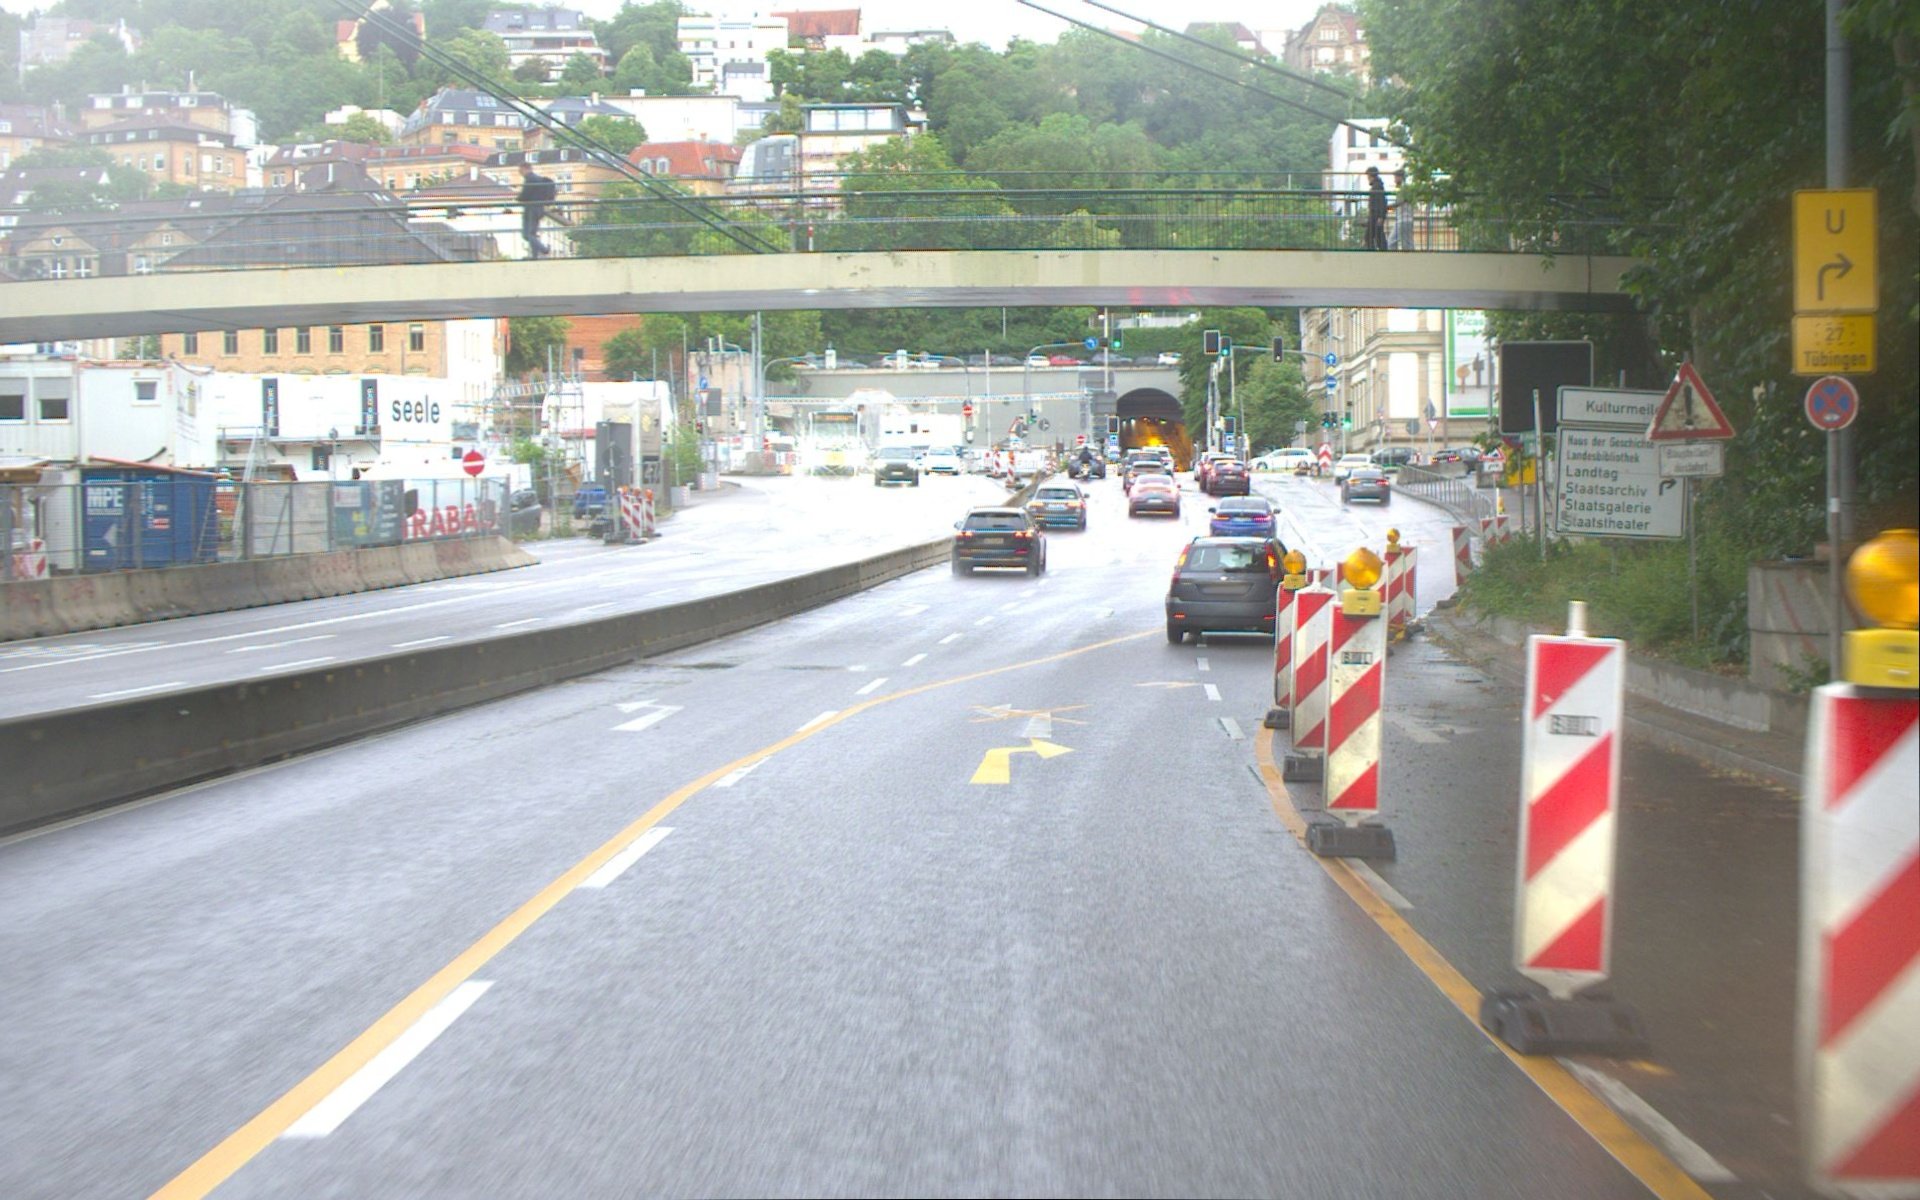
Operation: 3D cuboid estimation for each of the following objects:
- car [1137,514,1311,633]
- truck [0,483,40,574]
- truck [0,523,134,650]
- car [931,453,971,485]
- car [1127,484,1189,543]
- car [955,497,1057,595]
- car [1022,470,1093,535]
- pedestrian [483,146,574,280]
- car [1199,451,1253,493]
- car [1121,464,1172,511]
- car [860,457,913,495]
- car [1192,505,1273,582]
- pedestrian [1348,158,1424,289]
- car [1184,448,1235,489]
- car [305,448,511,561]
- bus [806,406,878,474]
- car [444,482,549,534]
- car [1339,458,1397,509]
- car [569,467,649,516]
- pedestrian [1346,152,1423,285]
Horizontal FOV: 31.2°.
[{"bbox_3d":[3.666,-0.399,47.176,1.813,1.521,3.998,-1,1,12],"label":"car"},{"bbox_3d":[-23.512,-1.547,76.880,5.247,2.006,2.164,-1,2,-1],"label":"truck"},{"bbox_3d":[-19.954,-0.243,68.712,6.275,2.444,2.694,-1,1,-4],"label":"truck"},{"bbox_3d":[-0.440,-6.536,171.267,1.709,1.484,3.450,-1,1,4],"label":"car"},{"bbox_3d":[7.067,-3.079,123.022,2.051,2.007,4.000,-1,1,2],"label":"car"},{"bbox_3d":[1.032,-1.170,74.473,2.017,2.007,4.000,-1,1,3],"label":"car"},{"bbox_3d":[3.160,-3.119,110.578,1.994,2.007,3.999,-1,1,5],"label":"car"},{"bbox_3d":[-7.058,-6.322,56.289,1.148,2.053,1.059,-1,1,11],"label":"pedestrian"},{"bbox_3d":[11.399,-5.477,147.487,1.993,1.693,4.000,-1,1,1],"label":"car"},{"bbox_3d":[7.827,-4.722,144.560,1.993,1.863,4.000,-1,1,1],"label":"car"},{"bbox_3d":[-3.256,-5.561,154.043,2.082,1.625,4.853,-1,2,2],"label":"car"},{"bbox_3d":[7.594,-1.578,96.093,2.105,2.043,4.000,-1,1,3],"label":"car"},{"bbox_3d":[7.138,-6.302,57.609,1.148,2.053,1.059,-1,1,11],"label":"pedestrian"},{"bbox_3d":[11.141,-5.884,153.739,1.993,1.693,4.000,-1,1,1],"label":"car"},{"bbox_3d":[-14.650,-2.537,91.630,1.997,2.865,6.042,-1,1,30],"label":"car"},{"bbox_3d":[-5.783,-7.868,169.718,2.806,3.173,8.807,-1,2,3],"label":"bus"},{"bbox_3d":[-14.736,-2.909,109.523,1.763,1.560,4.680,-1,1,12],"label":"car"},{"bbox_3d":[16.434,-4.705,138.668,1.994,2.006,4.000,0,2,2],"label":"car"},{"bbox_3d":[-12.537,-3.901,123.024,1.994,1.616,4.000,0,3,7],"label":"car"},{"bbox_3d":[6.990,-6.268,56.581,1.148,2.053,1.059,-1,1,11],"label":"pedestrian"}]
